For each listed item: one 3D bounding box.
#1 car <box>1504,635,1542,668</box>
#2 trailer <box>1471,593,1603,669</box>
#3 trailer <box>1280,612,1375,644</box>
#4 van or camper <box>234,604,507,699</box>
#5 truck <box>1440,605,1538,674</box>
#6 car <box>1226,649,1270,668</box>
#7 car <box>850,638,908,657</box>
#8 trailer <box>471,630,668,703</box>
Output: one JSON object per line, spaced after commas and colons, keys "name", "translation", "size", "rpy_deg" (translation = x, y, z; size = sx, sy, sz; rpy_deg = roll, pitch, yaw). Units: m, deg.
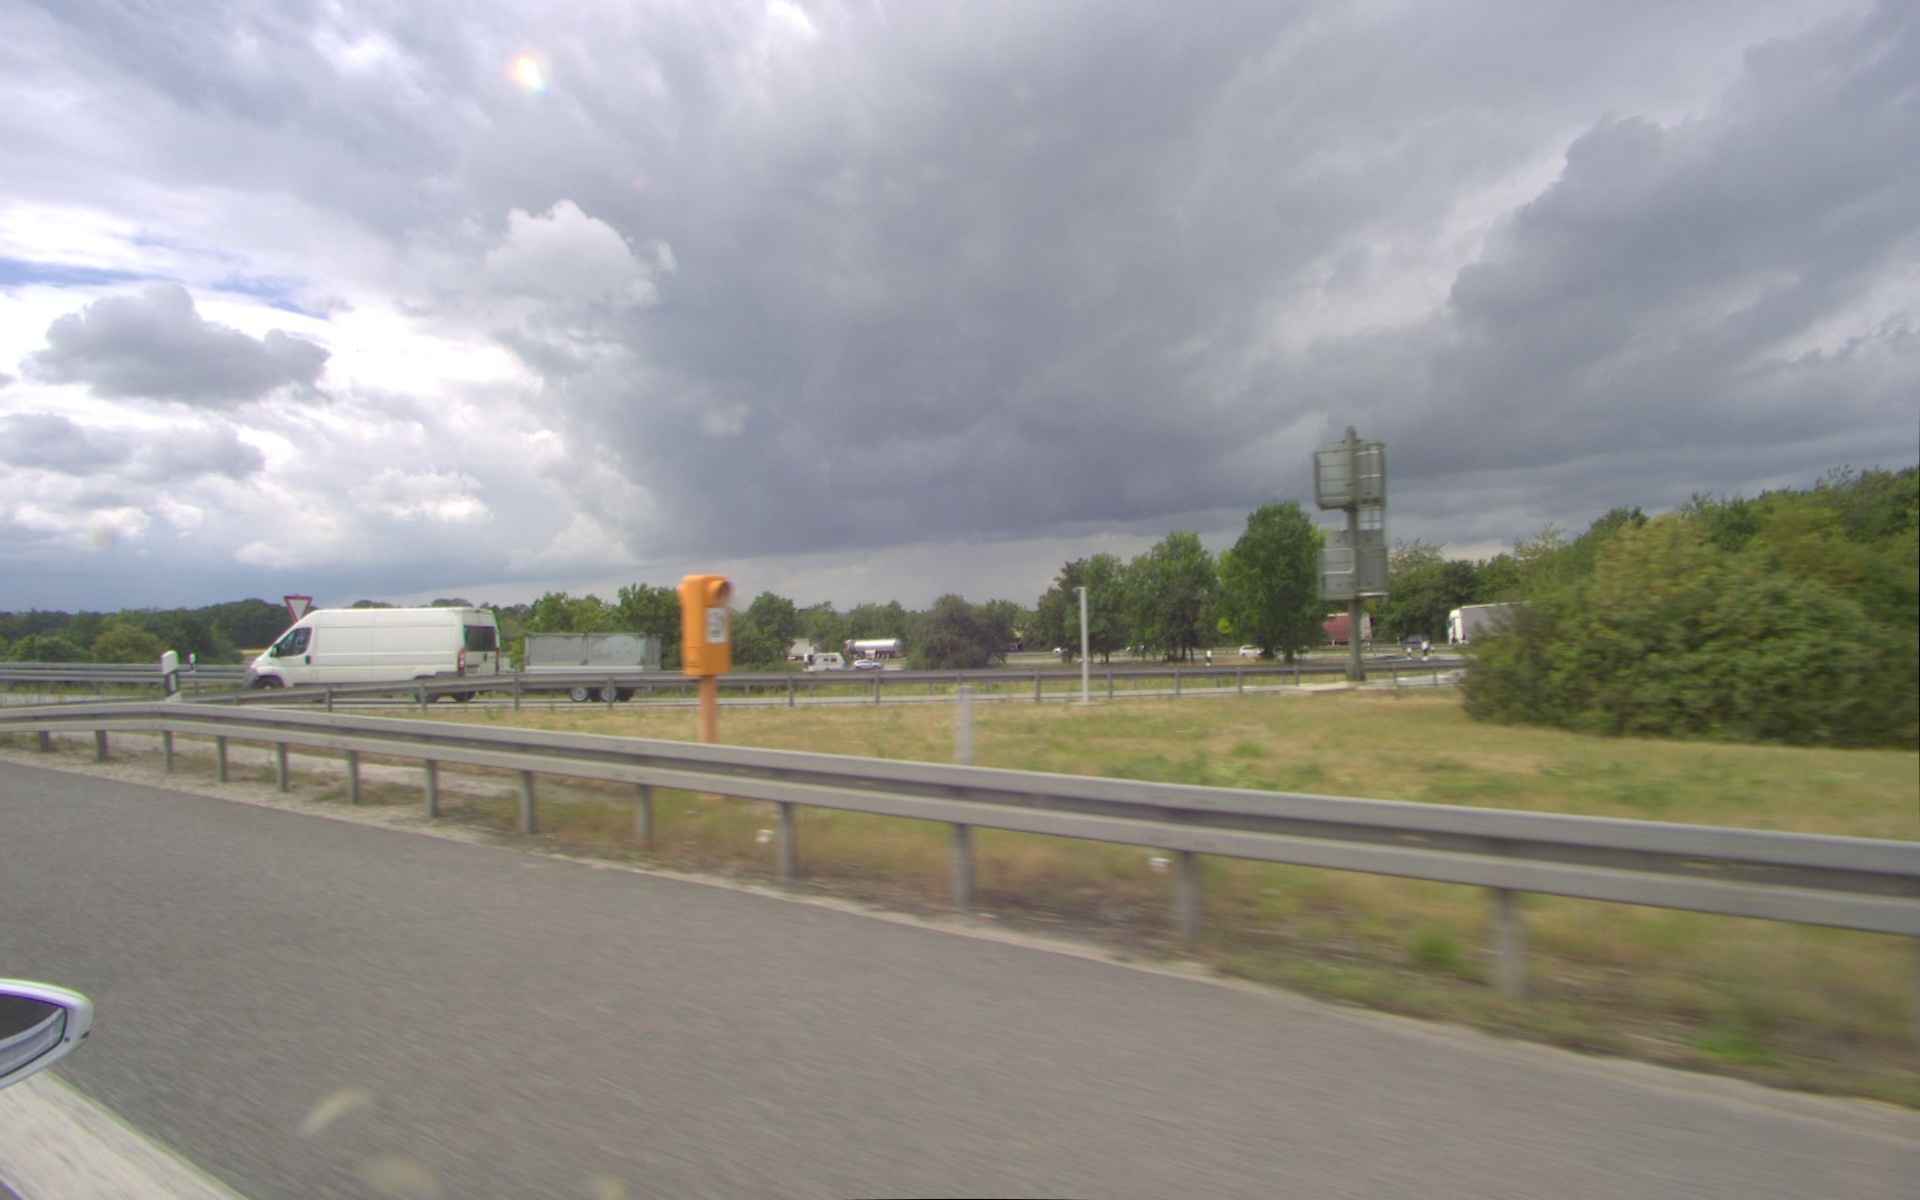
{"name": "car", "translation": [31.819, 2.961, 56.562], "size": [1.774, 1.771, 3.984], "rpy_deg": [-3, -4, 30]}
{"name": "trailer", "translation": [49.599, 2.756, 86.801], "size": [3.940, 6.165, 12.101], "rpy_deg": [0, -2, -3]}
{"name": "trailer", "translation": [42.160, 3.321, 115.427], "size": [3.083, 3.492, 11.655], "rpy_deg": [1, -2, -23]}
{"name": "van or camper", "translation": [-15.379, 1.343, 26.397], "size": [5.824, 2.391, 2.232], "rpy_deg": [0, -2, -1]}
{"name": "truck", "translation": [49.254, 3.748, 93.696], "size": [3.989, 6.149, 8.982], "rpy_deg": [0, -2, -3]}
{"name": "car", "translation": [31.334, 6.342, 109.139], "size": [1.776, 1.771, 4.499], "rpy_deg": [5, -3, -31]}
{"name": "car", "translation": [-14.231, 8.276, 174.507], "size": [3.421, 3.118, 11.646], "rpy_deg": [2, -3, -45]}
{"name": "trailer", "translation": [-10.239, 1.736, 26.517], "size": [4.419, 1.865, 2.001], "rpy_deg": [0, -2, -1]}
